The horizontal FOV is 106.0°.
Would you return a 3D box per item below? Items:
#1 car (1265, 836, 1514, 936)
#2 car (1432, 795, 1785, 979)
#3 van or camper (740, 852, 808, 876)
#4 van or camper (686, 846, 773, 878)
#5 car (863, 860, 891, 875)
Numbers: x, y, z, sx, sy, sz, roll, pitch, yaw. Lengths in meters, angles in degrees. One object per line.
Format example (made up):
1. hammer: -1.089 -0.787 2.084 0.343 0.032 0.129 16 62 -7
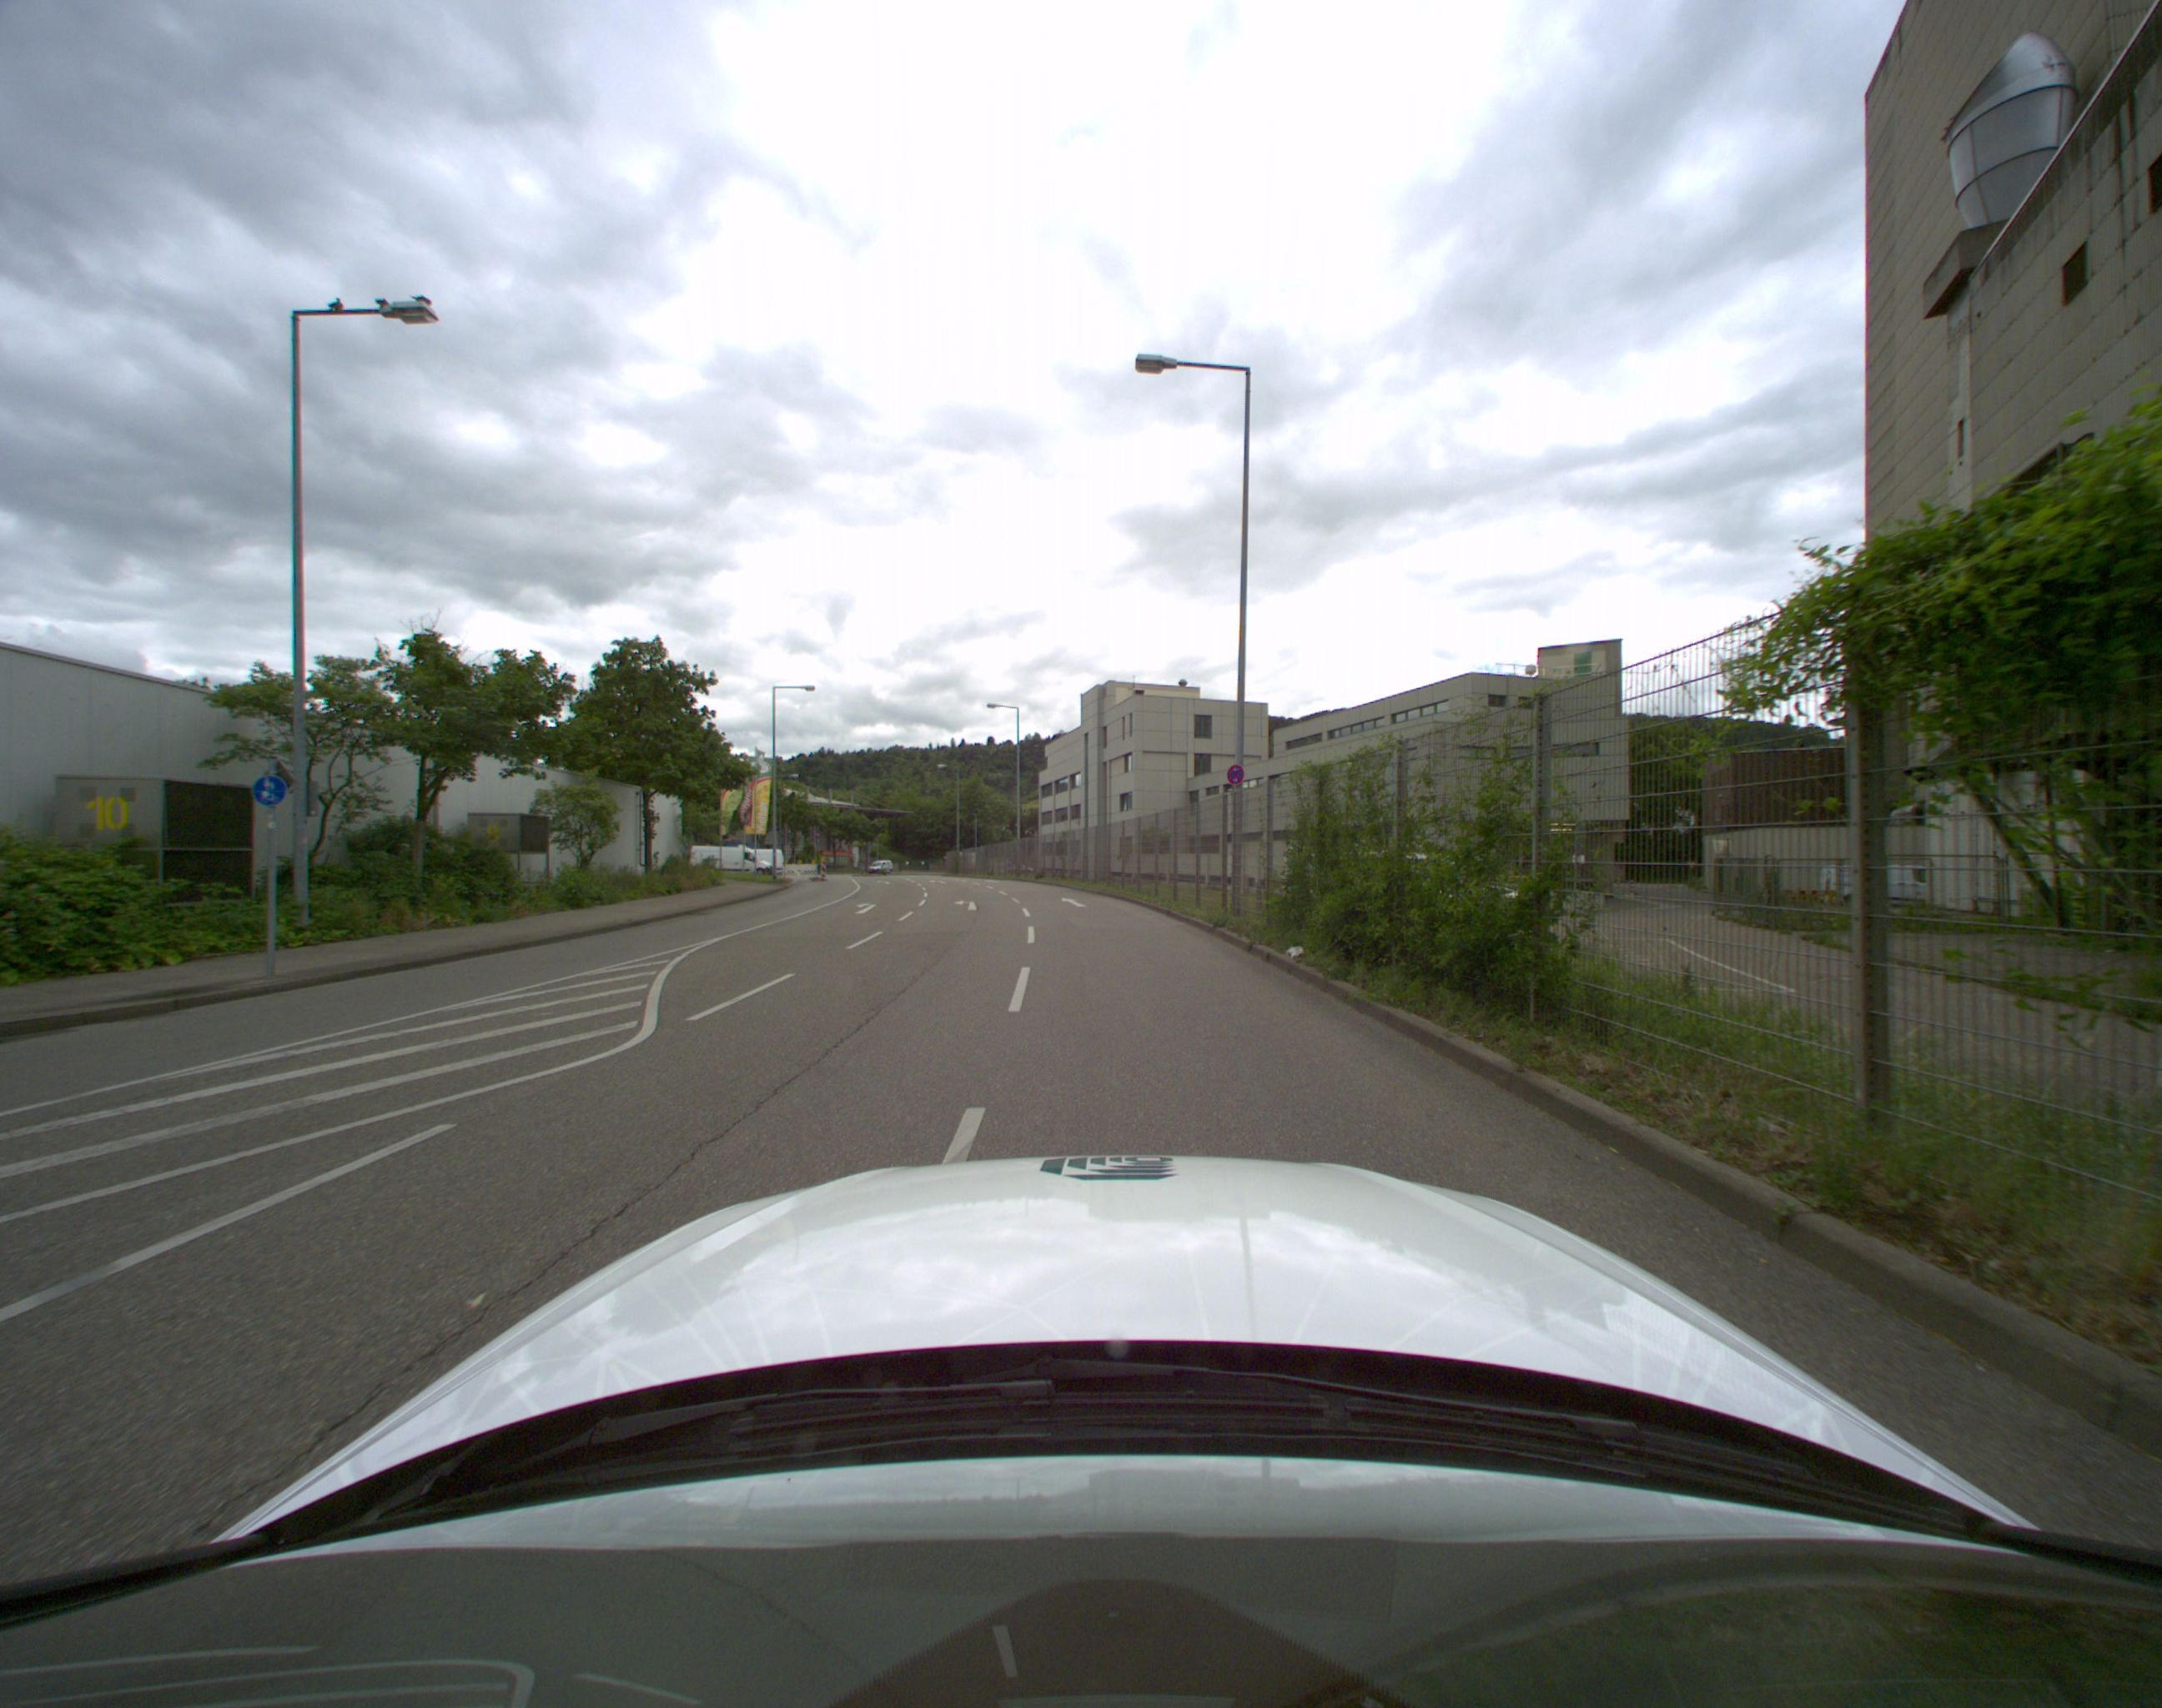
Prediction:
1. car: 7.863 0.787 21.529 2.008 2.263 6.104 1 -1 -34
2. car: 6.826 0.413 11.369 1.985 2.014 4.849 0 -1 3
3. van or camper: -30.433 1.051 81.019 1.989 2.326 6.693 -1 -2 27
4. van or camper: -28.124 0.678 65.379 5.994 2.247 2.384 2 -2 -15
5. car: -26.922 1.780 107.710 1.980 2.014 4.144 0 -1 12
